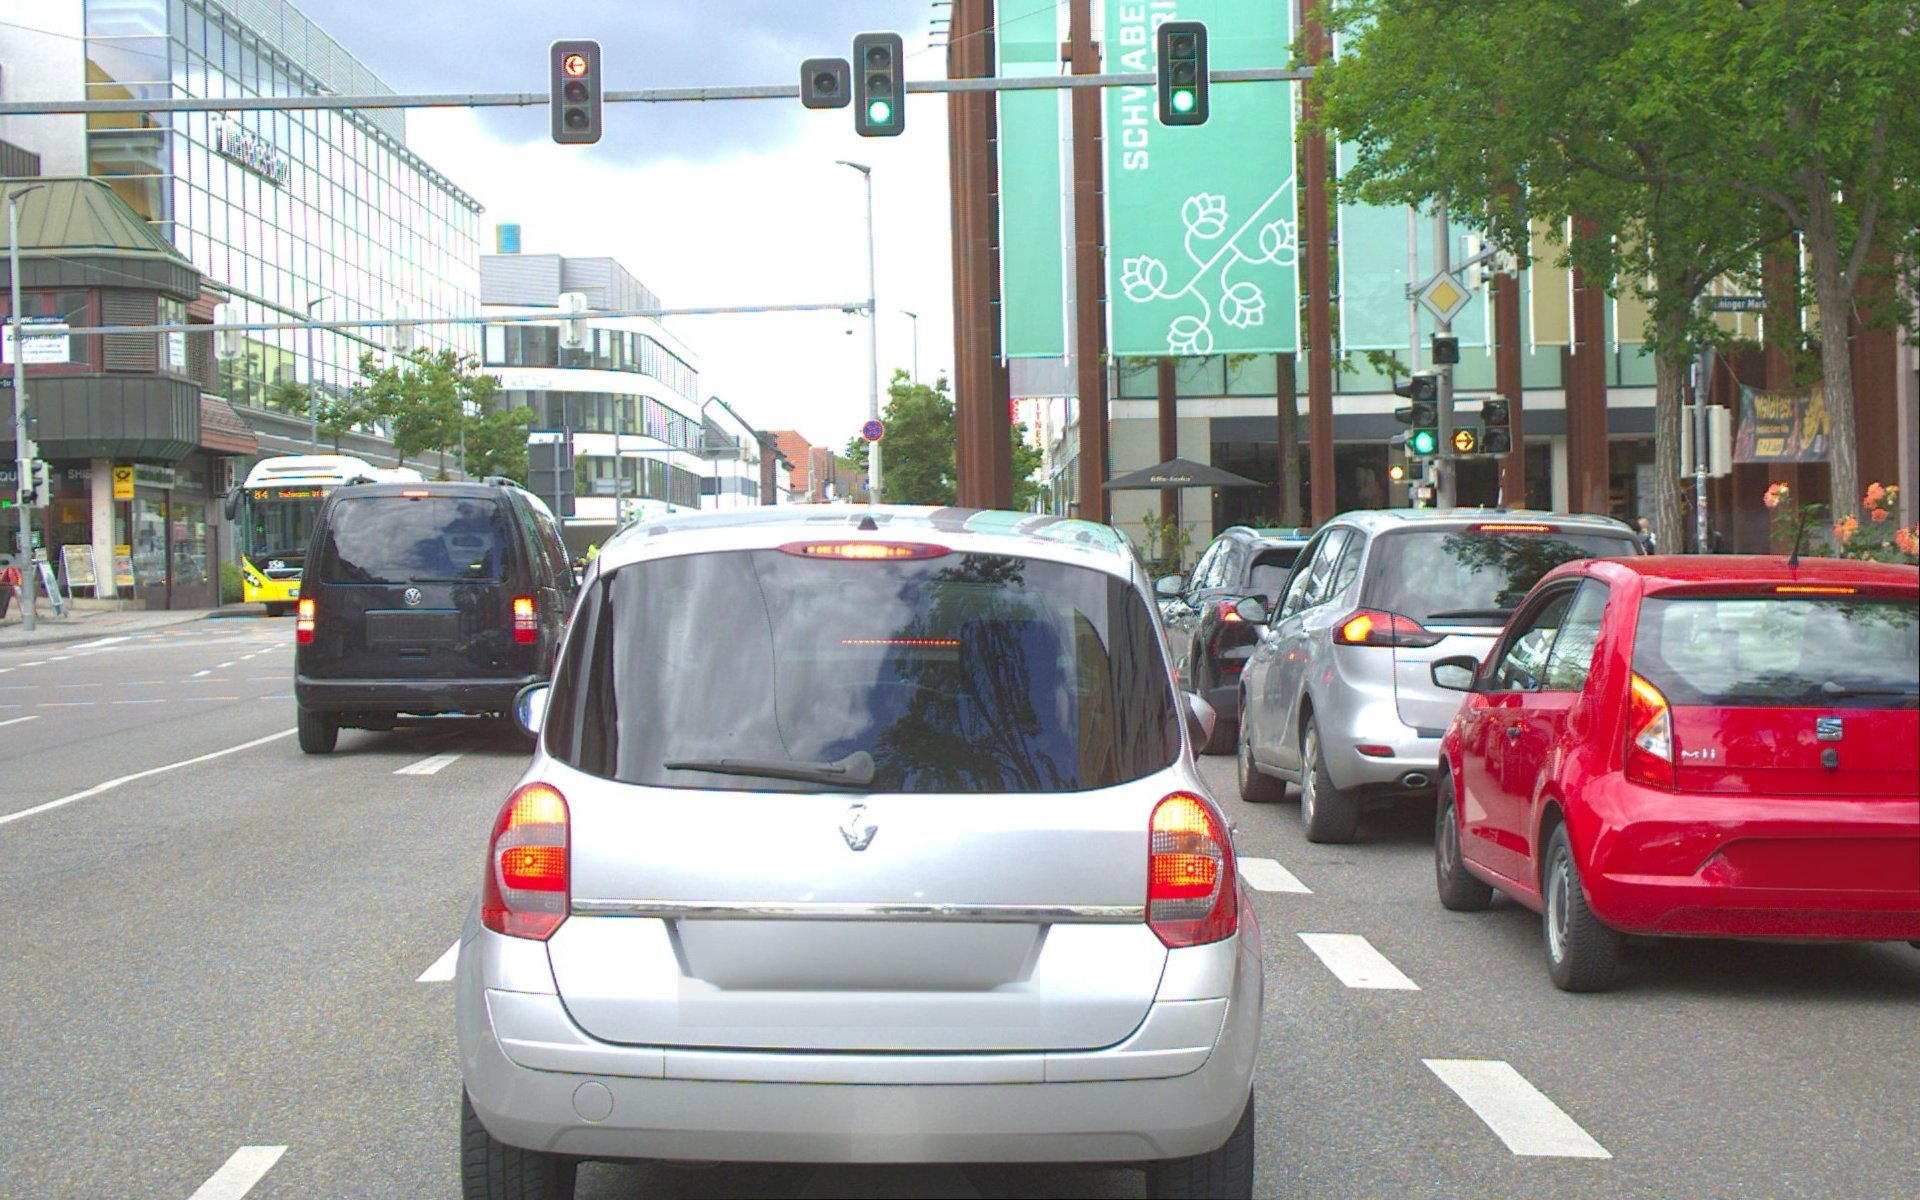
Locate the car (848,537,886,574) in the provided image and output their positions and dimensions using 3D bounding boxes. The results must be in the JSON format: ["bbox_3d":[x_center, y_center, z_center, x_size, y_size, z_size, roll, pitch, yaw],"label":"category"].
[{"bbox_3d":[-5.050,-2.445,186.295,1.993,1.942,4.951,-1,1,-2],"label":"car"}]

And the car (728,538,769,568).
[{"bbox_3d":[-11.122,-2.476,180.880,1.801,1.535,4.065,0,1,1],"label":"car"}]

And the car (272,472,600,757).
[{"bbox_3d":[-3.670,0.050,24.794,1.744,1.849,4.634,1,1,-1],"label":"car"}]

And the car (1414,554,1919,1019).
[{"bbox_3d":[2.709,0.574,12.575,1.586,1.438,3.348,1,1,-1],"label":"car"}]

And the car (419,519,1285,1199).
[{"bbox_3d":[-0.233,0.577,8.243,1.640,1.522,3.394,0,1,-1],"label":"car"}]

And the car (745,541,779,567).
[{"bbox_3d":[-12.168,-2.847,211.101,1.801,1.535,4.065,0,1,1],"label":"car"}]

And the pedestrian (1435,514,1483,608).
[{"bbox_3d":[8.803,-0.684,60.703,0.651,1.645,0.559,-1,1,-15],"label":"pedestrian"}]

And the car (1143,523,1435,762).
[{"bbox_3d":[2.331,0.249,25.186,1.586,1.589,3.868,1,1,-2],"label":"car"}]

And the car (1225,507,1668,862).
[{"bbox_3d":[2.420,0.356,17.998,1.586,1.628,3.917,1,1,-2],"label":"car"}]

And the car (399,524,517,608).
[{"bbox_3d":[-10.520,-0.730,72.313,1.993,1.700,4.065,-1,1,-2],"label":"car"}]

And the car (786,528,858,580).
[{"bbox_3d":[-4.561,-1.548,114.268,1.917,1.671,4.242,0,1,4],"label":"car"}]

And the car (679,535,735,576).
[{"bbox_3d":[-9.748,-1.723,132.708,1.801,1.535,4.065,0,1,1],"label":"car"}]

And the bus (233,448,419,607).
[{"bbox_3d":[-13.721,-1.587,75.078,2.686,3.250,8.654,-1,1,-2],"label":"bus"}]
